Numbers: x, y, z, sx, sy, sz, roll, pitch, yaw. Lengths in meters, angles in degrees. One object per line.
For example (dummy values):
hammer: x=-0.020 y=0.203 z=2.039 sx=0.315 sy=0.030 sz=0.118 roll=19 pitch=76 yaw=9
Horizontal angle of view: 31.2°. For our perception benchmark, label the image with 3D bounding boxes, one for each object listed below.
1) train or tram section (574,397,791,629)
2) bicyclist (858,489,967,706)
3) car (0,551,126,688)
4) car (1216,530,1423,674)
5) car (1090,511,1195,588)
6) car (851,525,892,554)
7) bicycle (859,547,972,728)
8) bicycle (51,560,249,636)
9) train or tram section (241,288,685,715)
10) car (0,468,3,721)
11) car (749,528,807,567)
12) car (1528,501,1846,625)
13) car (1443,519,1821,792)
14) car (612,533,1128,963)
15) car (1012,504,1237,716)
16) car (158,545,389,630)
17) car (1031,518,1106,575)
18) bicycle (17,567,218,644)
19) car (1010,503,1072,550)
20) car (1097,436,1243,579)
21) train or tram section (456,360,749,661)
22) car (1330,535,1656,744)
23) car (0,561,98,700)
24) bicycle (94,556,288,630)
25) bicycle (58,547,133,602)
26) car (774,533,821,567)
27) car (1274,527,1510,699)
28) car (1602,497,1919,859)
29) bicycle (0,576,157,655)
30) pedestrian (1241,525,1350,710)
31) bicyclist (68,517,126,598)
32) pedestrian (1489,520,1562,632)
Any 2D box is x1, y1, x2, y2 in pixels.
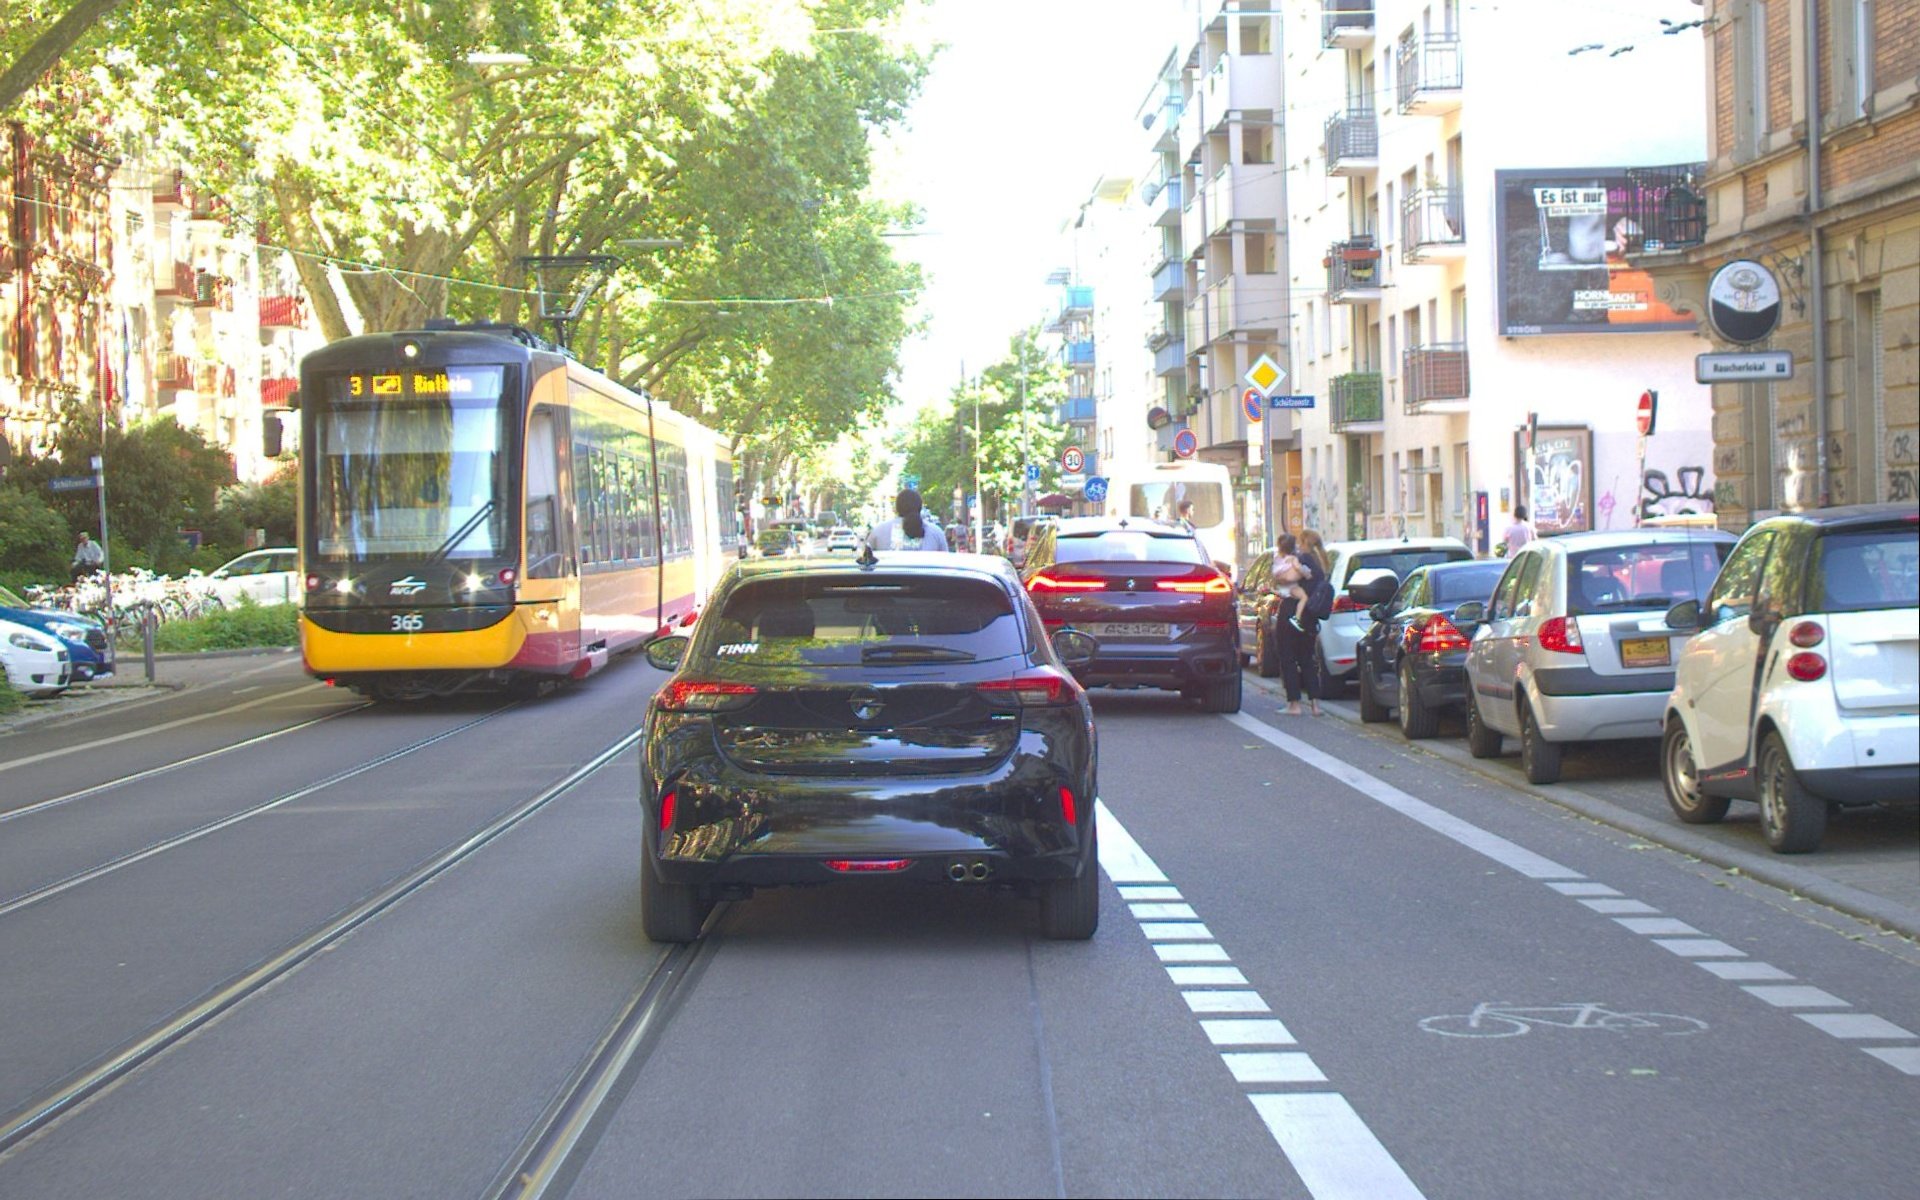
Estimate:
train or tram section: x=-4.797 y=-1.535 z=61.966 sx=2.735 sy=3.669 sz=12.717 roll=-2 pitch=1 yaw=0
bicyclist: x=-0.399 y=-0.030 z=28.271 sx=0.848 sy=1.734 sz=1.162 roll=-1 pitch=1 yaw=-2
car: x=-11.958 y=0.205 z=40.455 sx=3.919 sy=1.572 sz=1.677 roll=0 pitch=1 yaw=-3
car: x=3.939 y=-0.021 z=38.210 sx=1.810 sy=1.374 sz=3.933 roll=-4 pitch=1 yaw=0
car: x=3.582 y=-1.007 z=68.111 sx=1.810 sy=1.333 sz=3.933 roll=-4 pitch=1 yaw=0
car: x=-4.150 y=-2.839 z=161.836 sx=1.810 sy=1.333 sz=3.933 roll=-1 pitch=1 yaw=0
bicycle: x=-0.384 y=0.277 z=28.369 sx=0.860 sy=1.402 sz=2.524 roll=-1 pitch=1 yaw=-2
bicycle: x=-12.910 y=-0.033 z=54.804 sx=2.945 sy=1.165 sz=0.989 roll=0 pitch=1 yaw=16
train or tram section: x=-4.872 y=-0.991 z=36.552 sx=2.735 sy=3.669 sz=12.717 roll=-2 pitch=1 yaw=0
car: x=-12.387 y=-0.055 z=31.353 sx=6.627 sy=2.401 sz=2.458 roll=0 pitch=1 yaw=0
car: x=-6.425 y=-1.877 z=121.715 sx=1.810 sy=1.333 sz=3.933 roll=-1 pitch=1 yaw=0
car: x=10.981 y=-0.576 z=52.110 sx=4.377 sy=1.792 sz=1.876 roll=-1 pitch=1 yaw=-1
car: x=4.144 y=0.281 z=21.720 sx=1.705 sy=1.451 sz=3.697 roll=-4 pitch=1 yaw=2
car: x=-0.348 y=0.486 z=13.816 sx=1.794 sy=1.436 sz=3.532 roll=-1 pitch=2 yaw=-1
car: x=1.396 y=0.043 z=30.474 sx=1.810 sy=1.736 sz=3.933 roll=-1 pitch=1 yaw=0
car: x=-12.416 y=-0.235 z=62.340 sx=3.919 sy=1.493 sz=1.677 roll=0 pitch=1 yaw=-3
car: x=2.863 y=-1.439 z=91.398 sx=1.810 sy=1.333 sz=3.933 roll=-4 pitch=1 yaw=0
bicycle: x=-13.170 y=0.084 z=53.764 sx=2.945 sy=1.165 sz=0.989 roll=0 pitch=1 yaw=16
car: x=2.574 y=-2.333 z=109.560 sx=1.810 sy=1.333 sz=3.933 roll=-4 pitch=1 yaw=0
car: x=3.566 y=-1.584 z=59.288 sx=2.075 sy=2.211 sz=4.933 roll=-4 pitch=1 yaw=0
train or tram section: x=-4.847 y=-1.248 z=49.247 sx=2.735 sy=3.669 sz=12.717 roll=-2 pitch=1 yaw=0
car: x=3.980 y=0.243 z=26.280 sx=1.810 sy=1.333 sz=3.933 roll=-4 pitch=1 yaw=0
car: x=-11.674 y=0.317 z=37.998 sx=3.919 sy=1.493 sz=1.677 roll=0 pitch=1 yaw=-3
bicycle: x=-12.478 y=-0.119 z=55.806 sx=2.945 sy=1.165 sz=0.989 roll=0 pitch=1 yaw=16
bicycle: x=-18.871 y=-0.570 z=75.109 sx=0.987 sy=1.165 sz=2.953 roll=-1 pitch=1 yaw=-3
car: x=-7.227 y=-2.231 z=153.127 sx=1.810 sy=1.333 sz=3.933 roll=-4 pitch=1 yaw=0
car: x=4.056 y=0.080 z=32.808 sx=1.661 sy=1.414 sz=3.933 roll=-4 pitch=1 yaw=0
car: x=4.304 y=0.298 z=16.667 sx=1.567 sy=1.512 sz=3.041 roll=-5 pitch=1 yaw=-3
bicycle: x=-13.828 y=0.230 z=52.438 sx=2.945 sy=1.165 sz=0.989 roll=0 pitch=1 yaw=16
pedestrian: x=2.886 y=0.145 z=29.601 sx=0.866 sy=1.561 sz=0.768 roll=-1 pitch=1 yaw=2
bicyclist: x=-18.862 y=-0.929 z=75.133 sx=0.987 sy=1.750 sz=1.154 roll=-1 pitch=1 yaw=-3
pedestrian: x=8.006 y=-0.351 z=48.696 sx=0.866 sy=1.561 sz=0.768 roll=-1 pitch=1 yaw=-2
